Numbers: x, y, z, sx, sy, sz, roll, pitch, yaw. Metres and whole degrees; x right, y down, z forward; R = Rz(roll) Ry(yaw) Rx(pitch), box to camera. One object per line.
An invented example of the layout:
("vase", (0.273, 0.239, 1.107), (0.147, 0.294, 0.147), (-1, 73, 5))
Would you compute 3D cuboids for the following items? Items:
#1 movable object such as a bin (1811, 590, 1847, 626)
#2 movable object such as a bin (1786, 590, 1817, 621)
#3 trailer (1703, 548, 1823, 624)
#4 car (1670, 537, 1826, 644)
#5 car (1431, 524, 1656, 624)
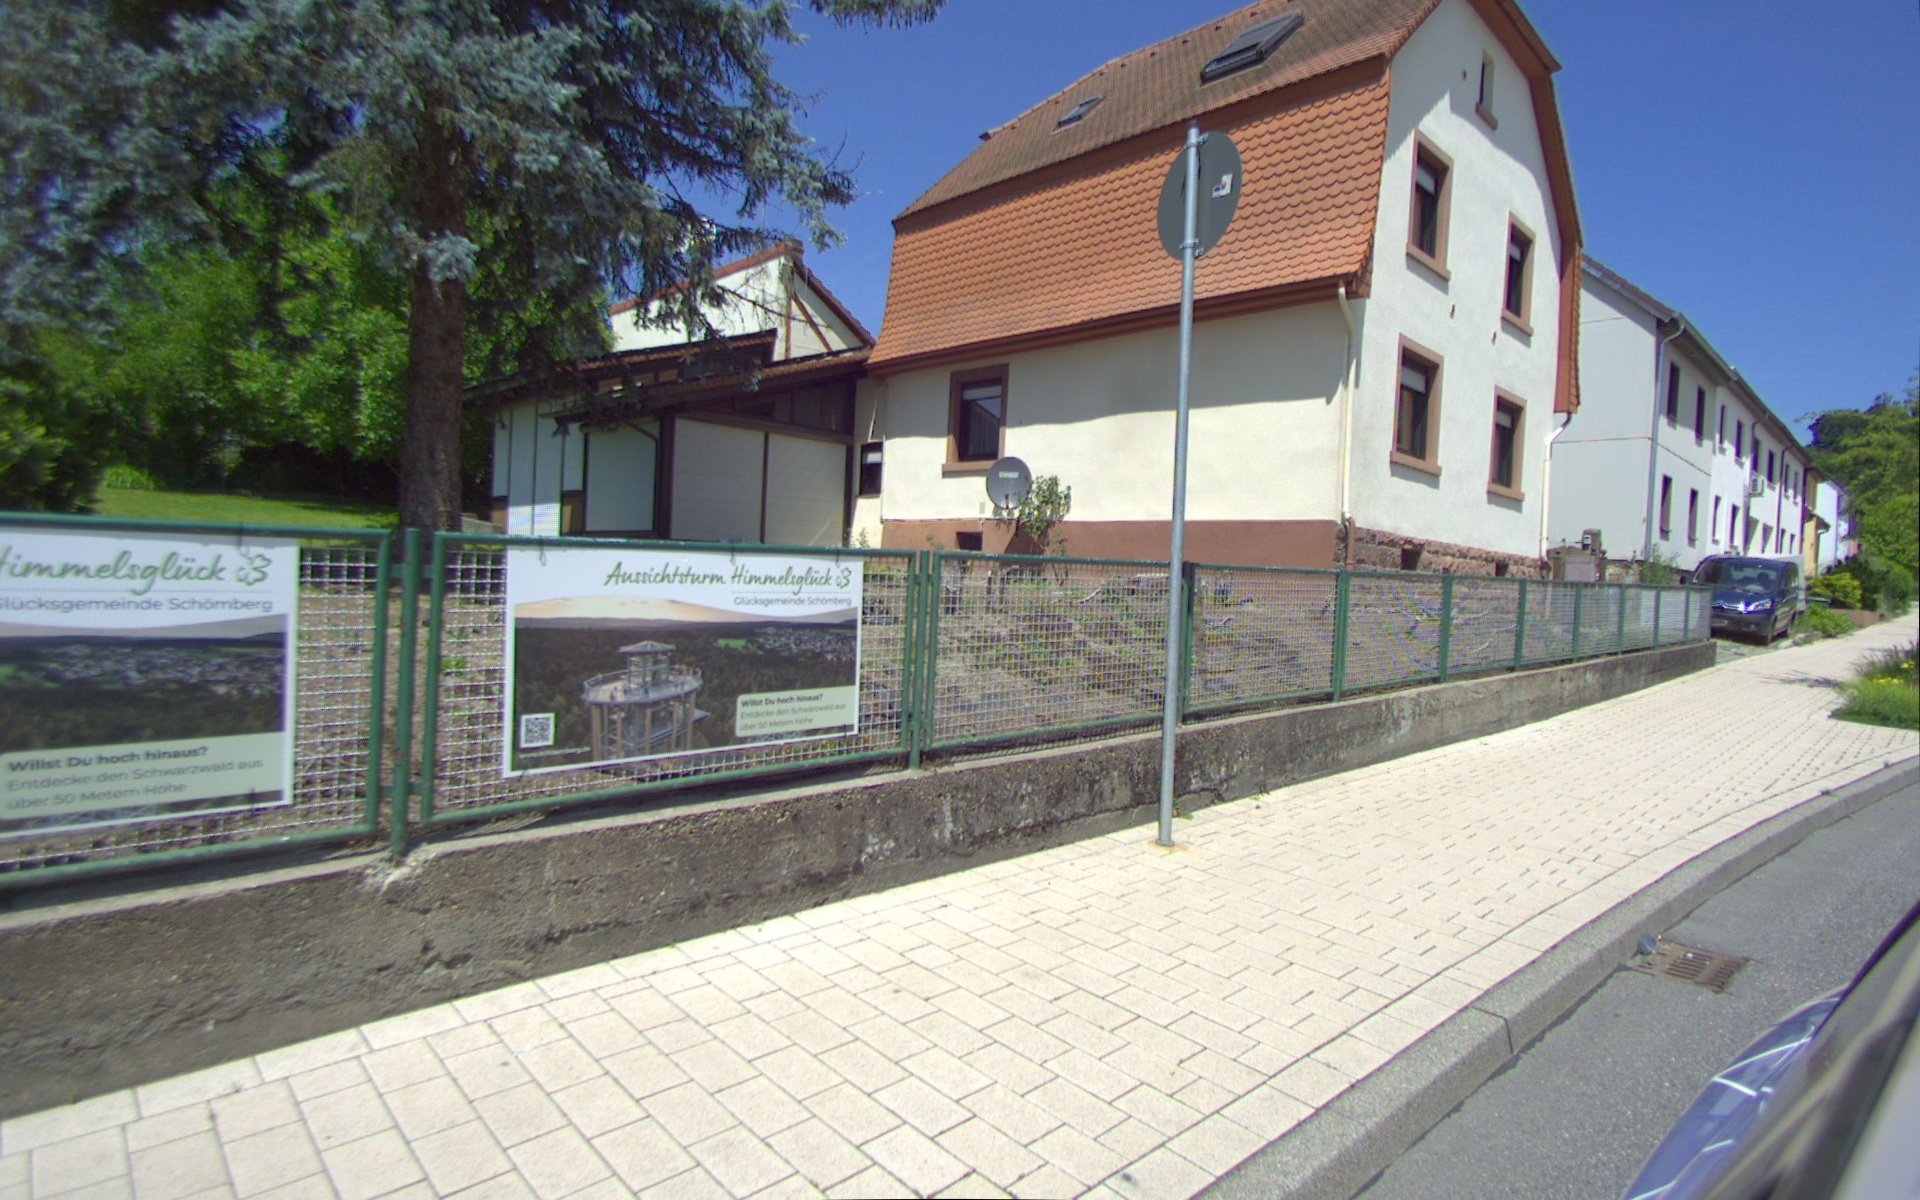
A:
("movable object such as a bin", (29.089, 0.268, 33.885), (0.797, 1.128, 0.686), (0, 5, -38))
("movable object such as a bin", (28.533, 0.172, 34.301), (0.788, 0.997, 0.560), (0, 6, -37))
("trailer", (22.135, -0.395, 27.940), (2.230, 2.039, 1.325), (0, 1, -1))
("car", (18.752, -0.248, 24.007), (4.693, 1.990, 1.859), (0, 13, -43))
("car", (13.435, -0.668, 23.471), (1.859, 1.785, 3.998), (0, 8, -42))
